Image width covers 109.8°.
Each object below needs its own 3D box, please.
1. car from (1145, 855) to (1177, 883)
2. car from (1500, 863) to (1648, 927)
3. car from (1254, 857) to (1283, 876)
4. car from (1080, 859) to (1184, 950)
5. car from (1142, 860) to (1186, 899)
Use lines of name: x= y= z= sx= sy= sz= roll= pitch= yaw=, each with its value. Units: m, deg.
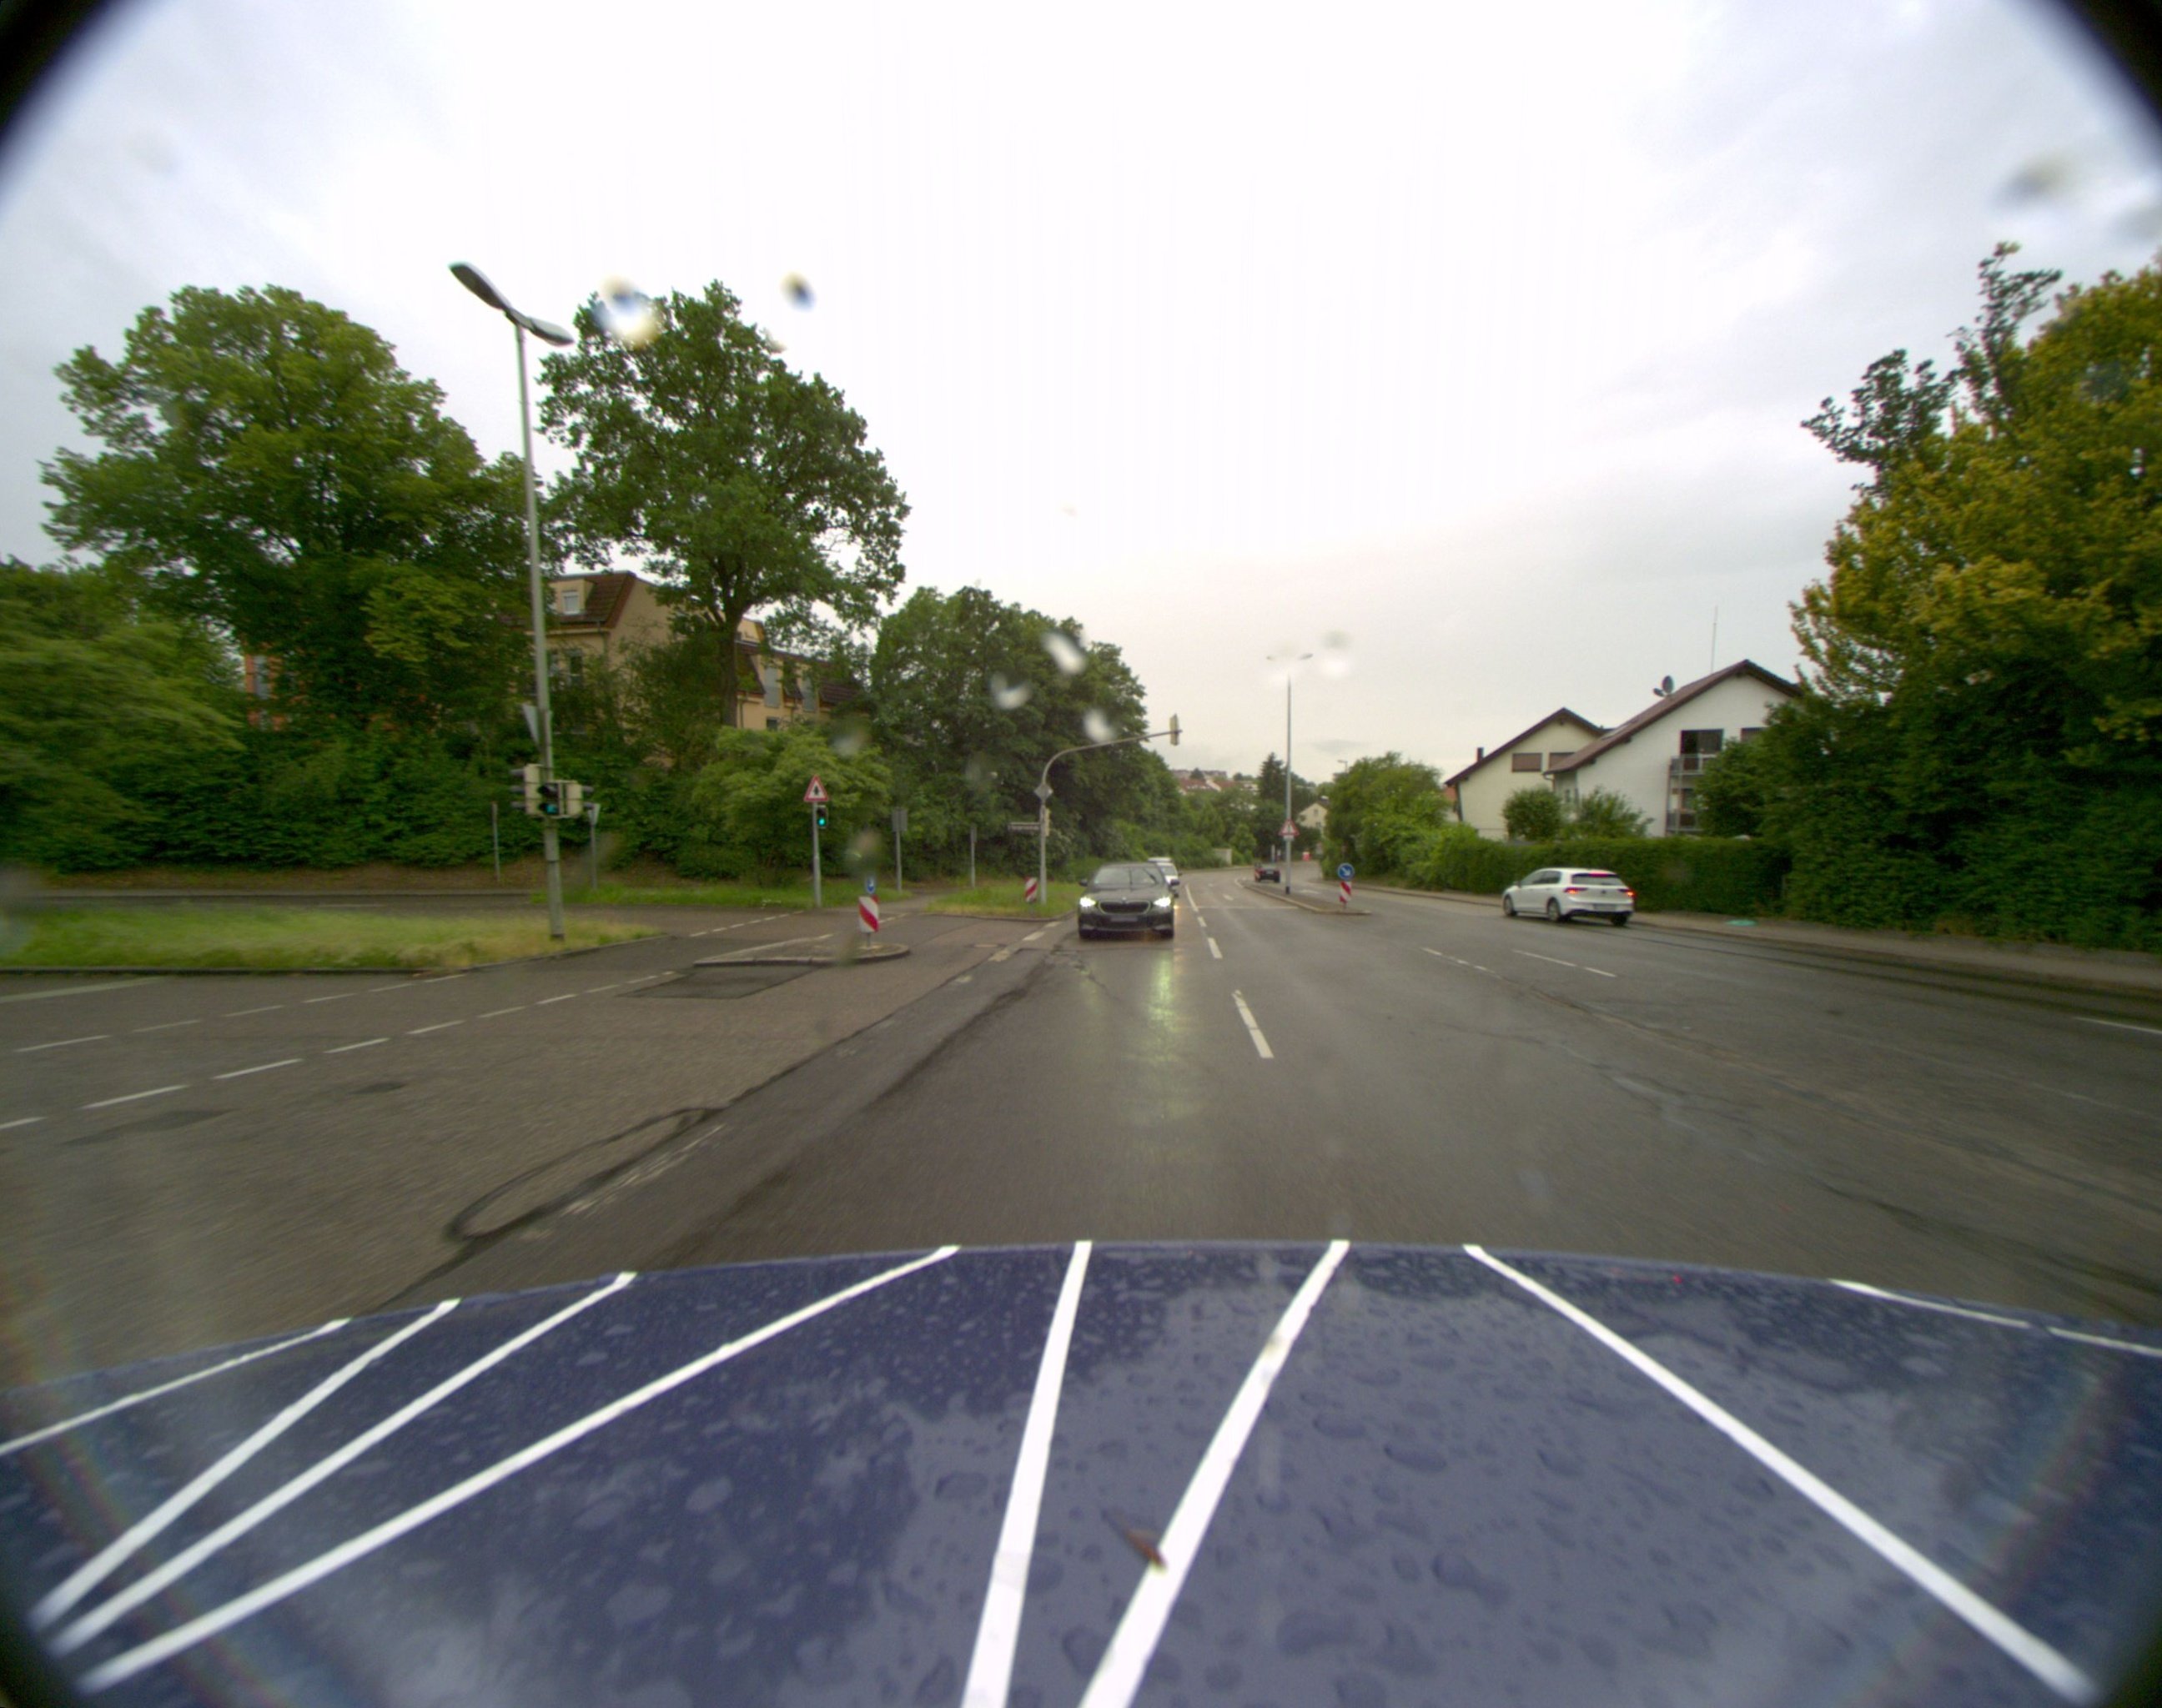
car: x=5.602 y=1.000 z=52.797 sx=1.812 sy=1.797 sz=4.123 roll=1 pitch=1 yaw=12
car: x=13.313 y=1.034 z=20.859 sx=1.731 sy=1.476 sz=4.159 roll=2 pitch=0 yaw=7
car: x=15.066 y=0.989 z=61.212 sx=1.866 sy=1.484 sz=3.836 roll=1 pitch=0 yaw=7
car: x=1.217 y=0.955 z=16.184 sx=1.866 sy=1.547 sz=4.121 roll=1 pitch=1 yaw=8
car: x=3.818 y=1.089 z=34.401 sx=1.813 sy=1.546 sz=4.122 roll=1 pitch=1 yaw=8
